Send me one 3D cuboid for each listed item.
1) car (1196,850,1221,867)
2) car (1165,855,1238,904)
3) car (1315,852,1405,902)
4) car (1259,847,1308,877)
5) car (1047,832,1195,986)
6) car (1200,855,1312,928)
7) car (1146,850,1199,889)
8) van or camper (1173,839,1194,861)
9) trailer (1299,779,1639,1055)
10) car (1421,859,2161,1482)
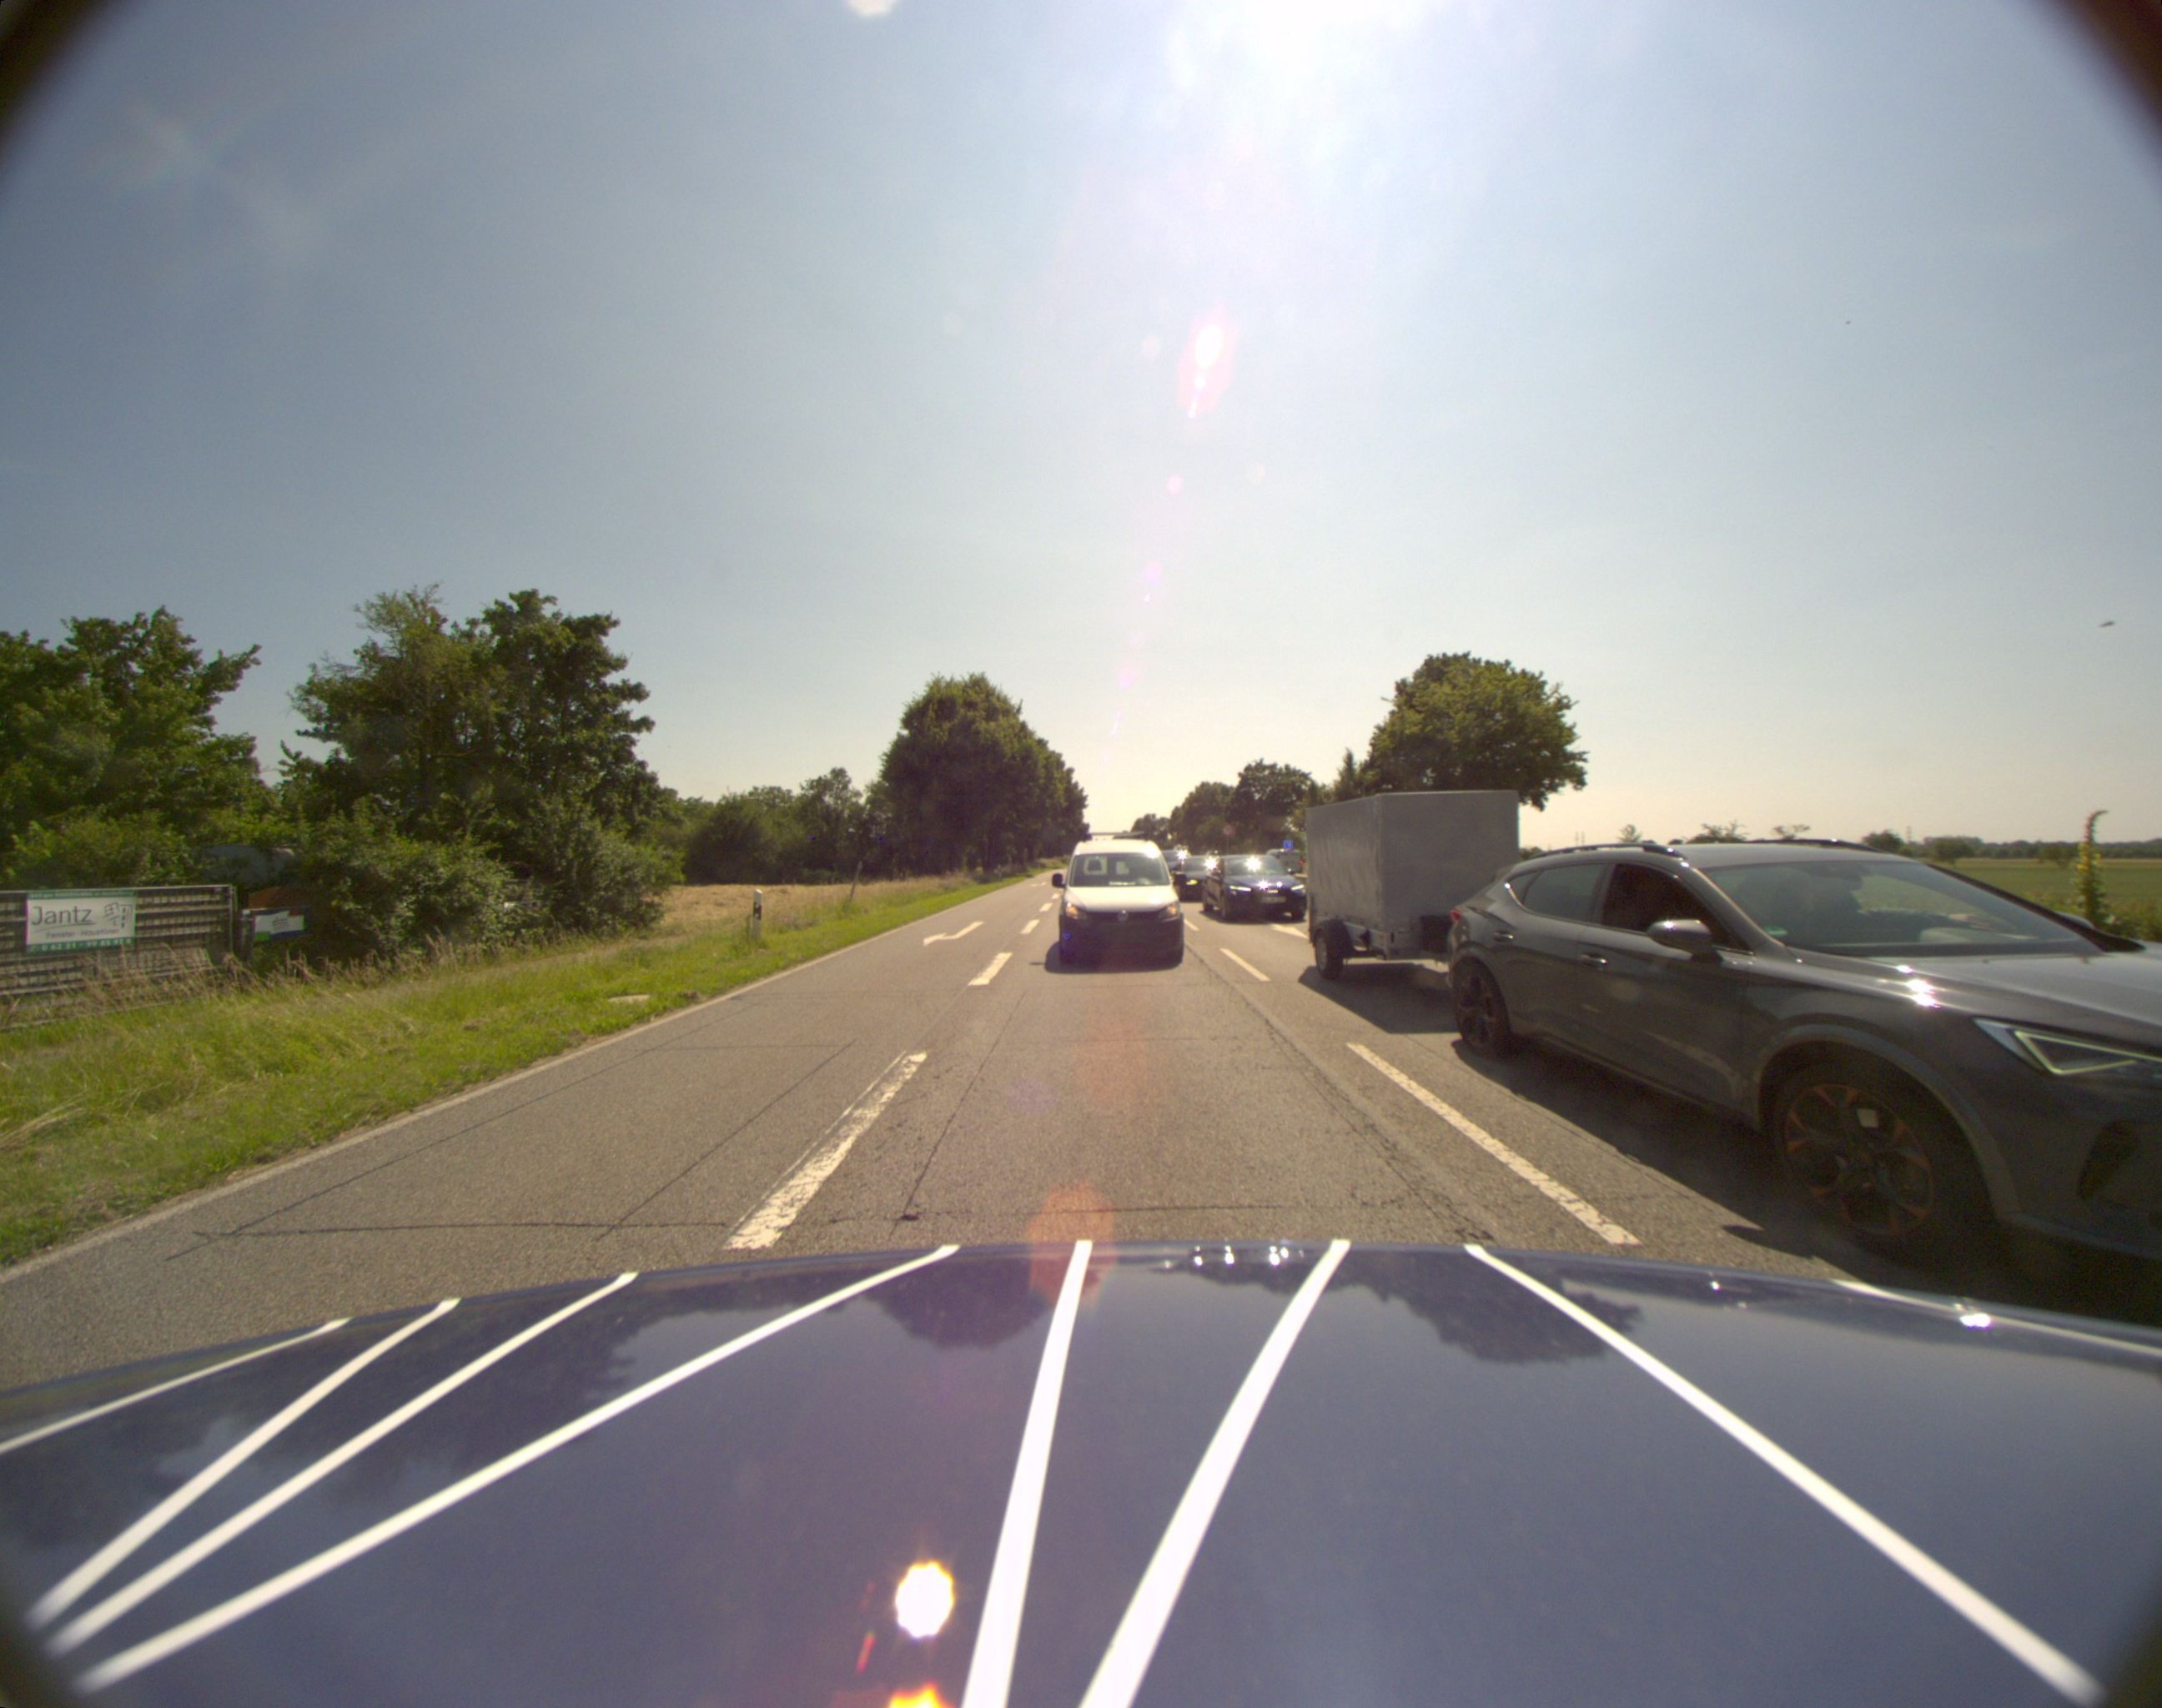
[{"bbox_3d":[13.583,0.463,81.070,1.862,1.845,4.696,0,0,0],"label":"car"},{"bbox_3d":[3.834,0.761,24.938,1.744,1.372,4.455,-2,0,1],"label":"car"},{"bbox_3d":[9.835,0.762,27.130,1.750,1.629,4.136,0,0,1],"label":"car"},{"bbox_3d":[14.024,0.523,52.883,1.999,1.919,5.015,0,0,0],"label":"car"},{"bbox_3d":[0.542,0.676,11.835,1.777,1.863,4.581,-2,1,1],"label":"car"},{"bbox_3d":[3.943,0.781,17.769,1.721,1.456,4.030,-2,0,1],"label":"car"},{"bbox_3d":[3.896,0.626,32.916,1.860,1.507,4.100,-1,0,2],"label":"car"},{"bbox_3d":[14.942,-0.534,110.940,2.269,3.081,5.694,0,0,0],"label":"van or camper"},{"bbox_3d":[3.686,0.496,8.124,1.504,2.160,4.174,-2,0,1],"label":"trailer"},{"bbox_3d":[3.623,0.820,3.979,1.750,1.494,4.363,-2,0,1],"label":"car"}]
